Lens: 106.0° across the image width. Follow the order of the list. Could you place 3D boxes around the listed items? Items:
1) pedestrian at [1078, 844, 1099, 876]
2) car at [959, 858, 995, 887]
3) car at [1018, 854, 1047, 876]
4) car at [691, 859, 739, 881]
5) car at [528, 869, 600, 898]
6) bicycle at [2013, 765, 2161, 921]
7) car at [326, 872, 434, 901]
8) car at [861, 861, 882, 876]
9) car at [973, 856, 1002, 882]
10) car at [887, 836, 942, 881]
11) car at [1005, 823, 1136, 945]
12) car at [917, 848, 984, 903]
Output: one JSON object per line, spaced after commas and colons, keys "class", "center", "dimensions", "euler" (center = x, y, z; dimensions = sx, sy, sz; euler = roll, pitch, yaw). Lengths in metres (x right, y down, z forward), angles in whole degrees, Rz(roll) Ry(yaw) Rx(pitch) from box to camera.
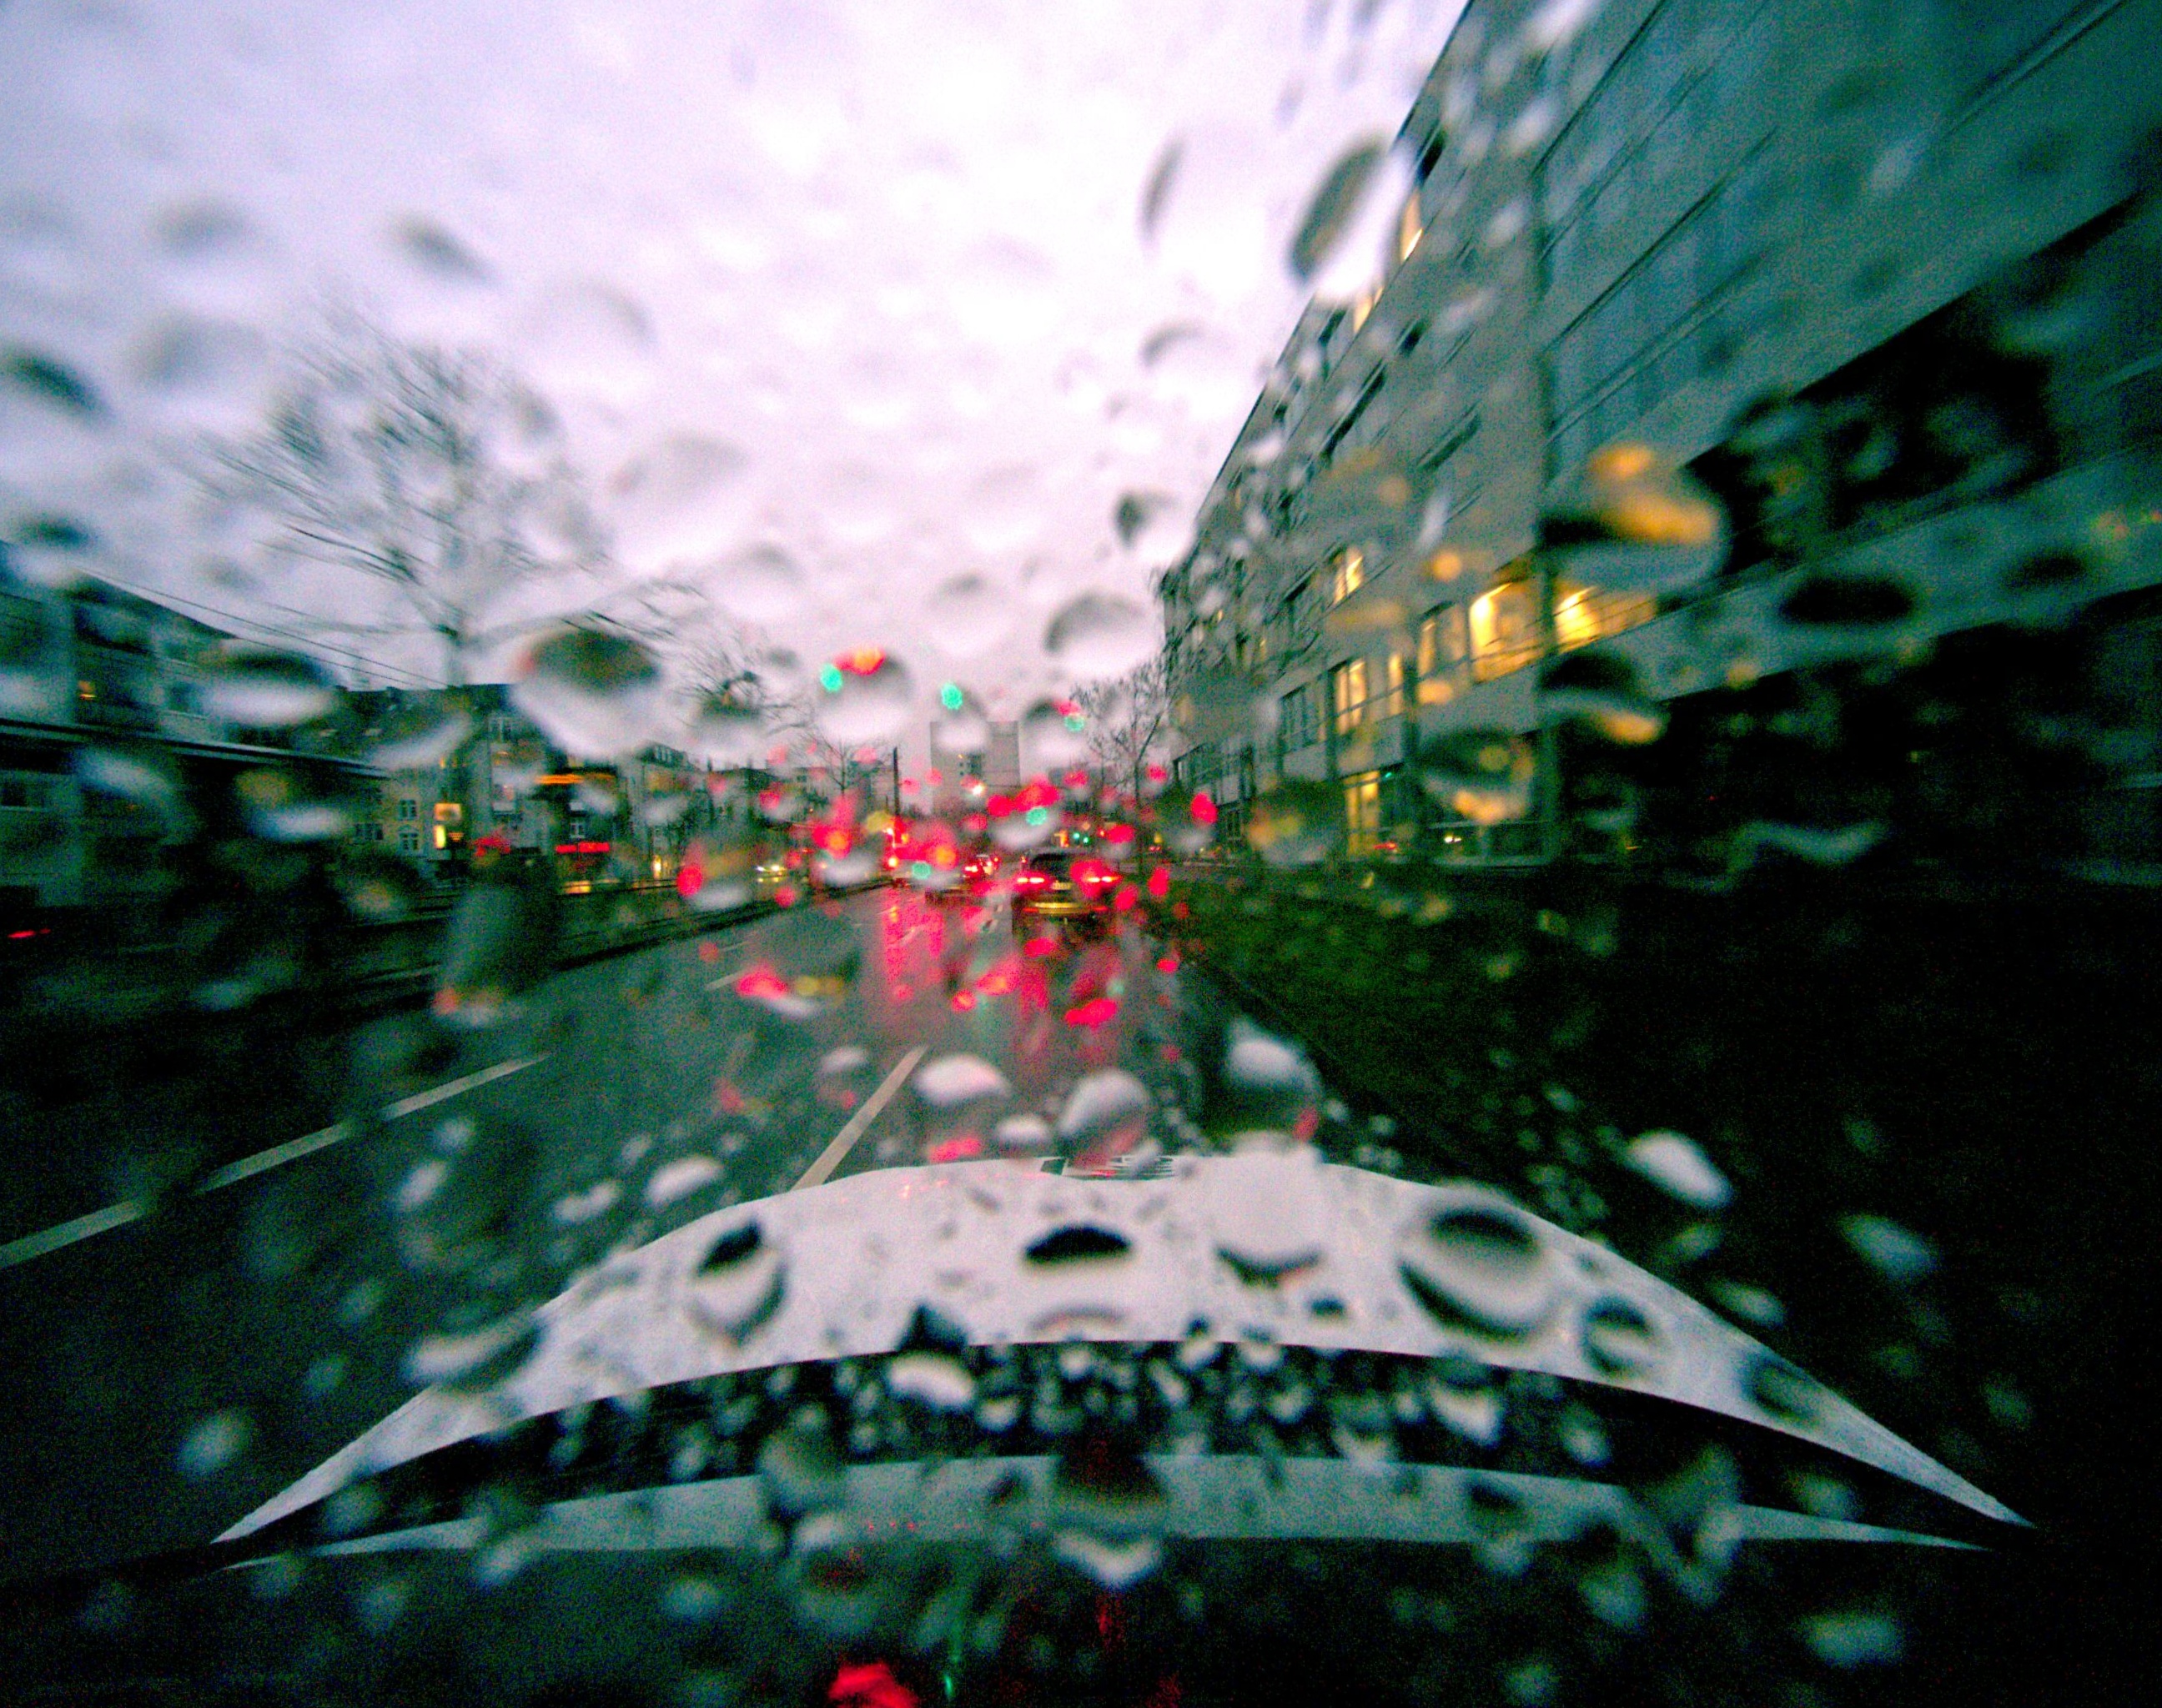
{"class": "pedestrian", "center": [0.445, 0.347, 47.230], "dimensions": [0.789, 1.750, 0.866], "euler": [-6, 0, 22]}
{"class": "car", "center": [-6.254, 1.126, 49.348], "dimensions": [1.990, 1.642, 4.015], "euler": [-1, -1, -4]}
{"class": "car", "center": [-3.394, 0.739, 56.180], "dimensions": [1.883, 1.353, 4.095], "euler": [-1, 0, -5]}
{"class": "car", "center": [-26.096, 1.152, 58.235], "dimensions": [1.754, 1.497, 3.756], "euler": [-1, -1, -1]}
{"class": "car", "center": [-28.505, 1.612, 45.050], "dimensions": [1.755, 1.497, 3.754], "euler": [-1, -1, -3]}
{"class": "bicycle", "center": [9.366, -0.116, 6.706], "dimensions": [0.817, 1.273, 2.466], "euler": [-6, 0, 11]}
{"class": "car", "center": [-35.465, 1.611, 41.311], "dimensions": [3.798, 1.366, 1.693], "euler": [-1, -1, -10]}
{"class": "car", "center": [-24.147, 1.651, 93.979], "dimensions": [1.802, 1.606, 3.991], "euler": [-1, -1, -6]}
{"class": "car", "center": [-7.512, 1.196, 65.795], "dimensions": [1.988, 2.014, 3.996], "euler": [-1, -1, -2]}
{"class": "car", "center": [-8.067, 0.205, 39.847], "dimensions": [1.949, 2.033, 4.875], "euler": [-1, 0, -4]}
{"class": "car", "center": [-0.354, 0.516, 15.377], "dimensions": [1.992, 1.976, 4.057], "euler": [-1, -1, -8]}
{"class": "car", "center": [-4.387, 0.712, 28.027], "dimensions": [1.991, 1.712, 4.316], "euler": [-1, -1, -6]}
